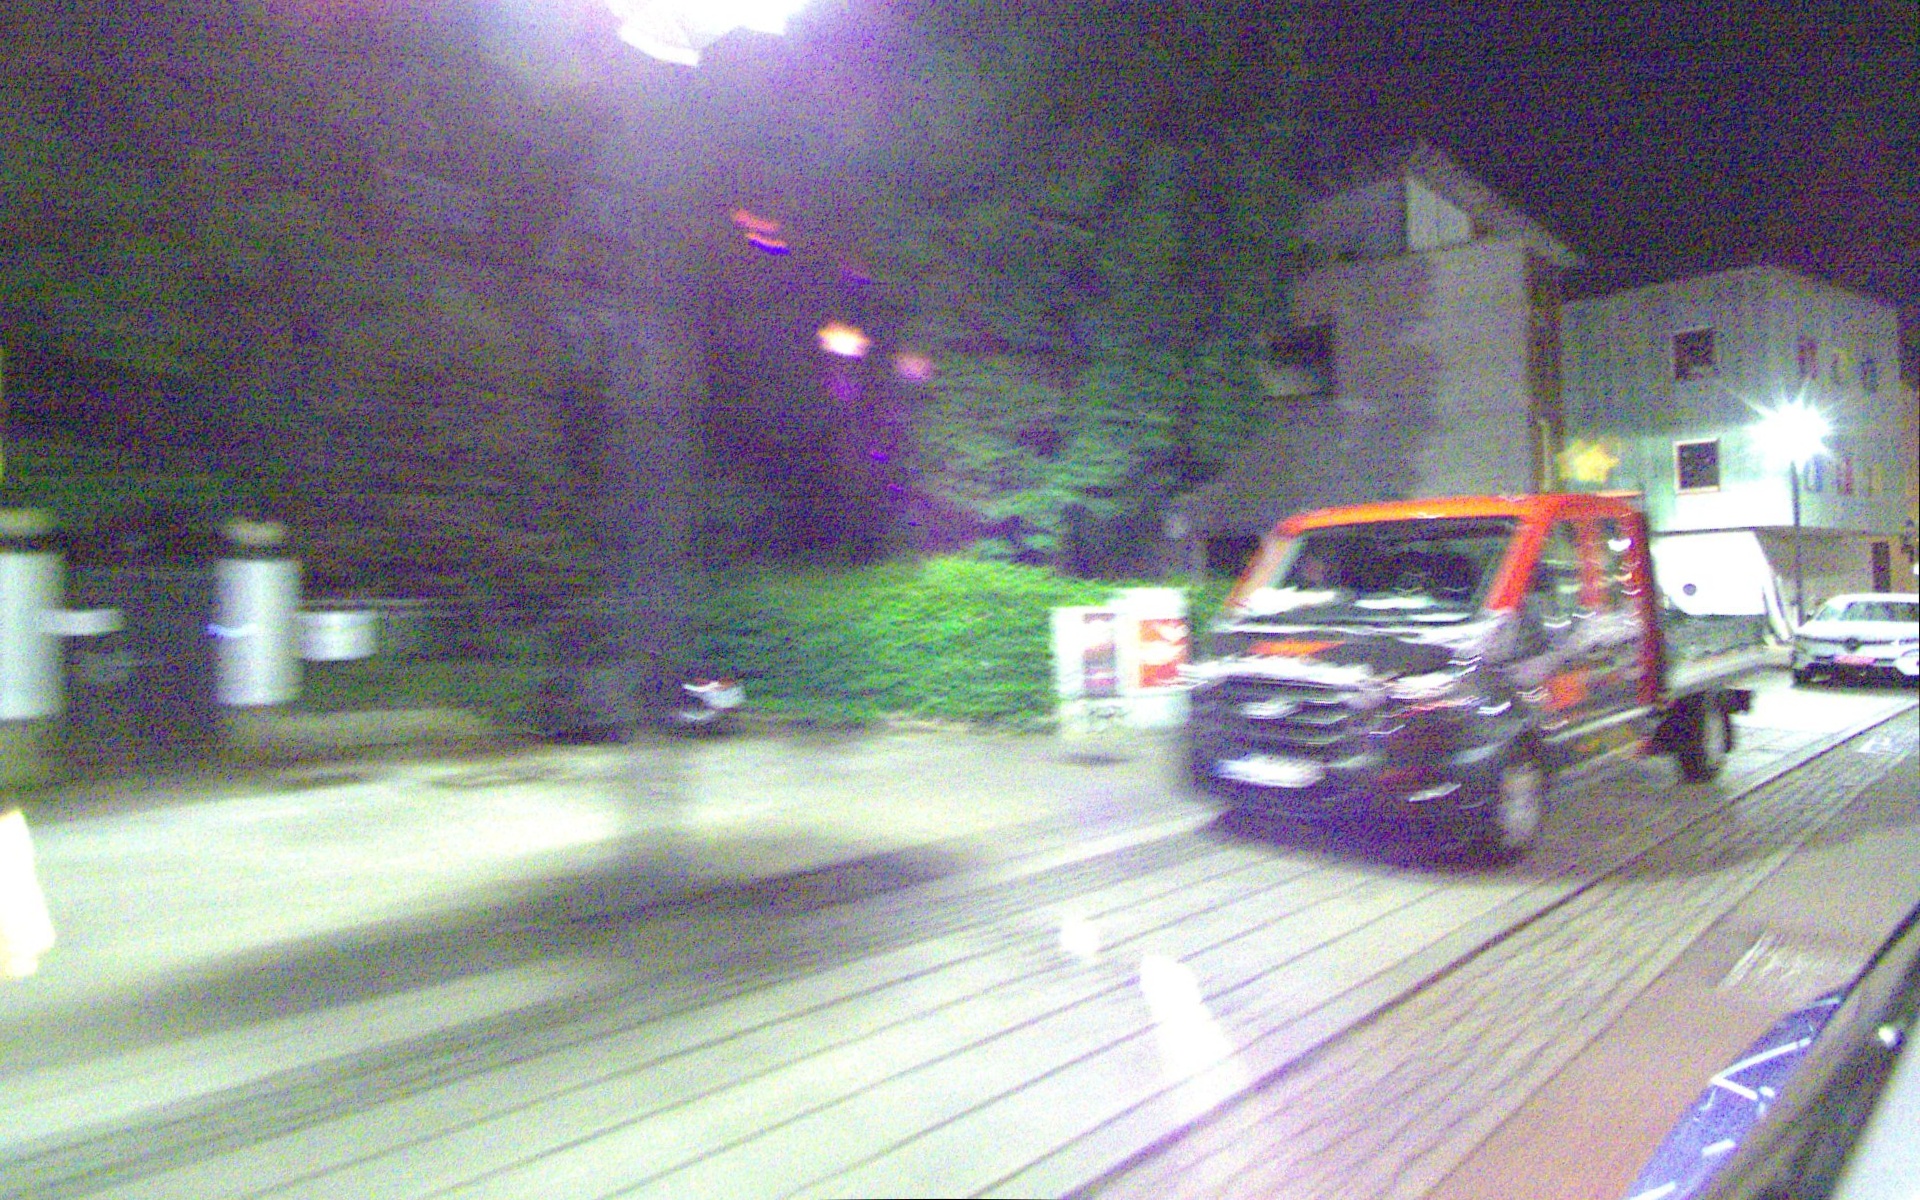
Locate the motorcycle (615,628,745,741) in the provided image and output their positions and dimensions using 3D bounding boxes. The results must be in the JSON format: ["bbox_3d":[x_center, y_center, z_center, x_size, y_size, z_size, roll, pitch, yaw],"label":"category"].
[{"bbox_3d":[-3.297,0.929,11.775,0.551,1.201,2.017,0,-2,-44],"label":"motorcycle"}]

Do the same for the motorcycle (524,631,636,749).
[{"bbox_3d":[-4.245,0.951,11.235,0.551,1.201,1.630,0,-2,-44],"label":"motorcycle"}]

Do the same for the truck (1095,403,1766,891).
[{"bbox_3d":[3.822,0.223,7.588,5.677,2.341,2.341,0,-1,-40],"label":"truck"}]

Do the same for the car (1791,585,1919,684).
[{"bbox_3d":[15.842,0.507,17.241,3.985,1.510,1.794,0,0,-38],"label":"car"}]
